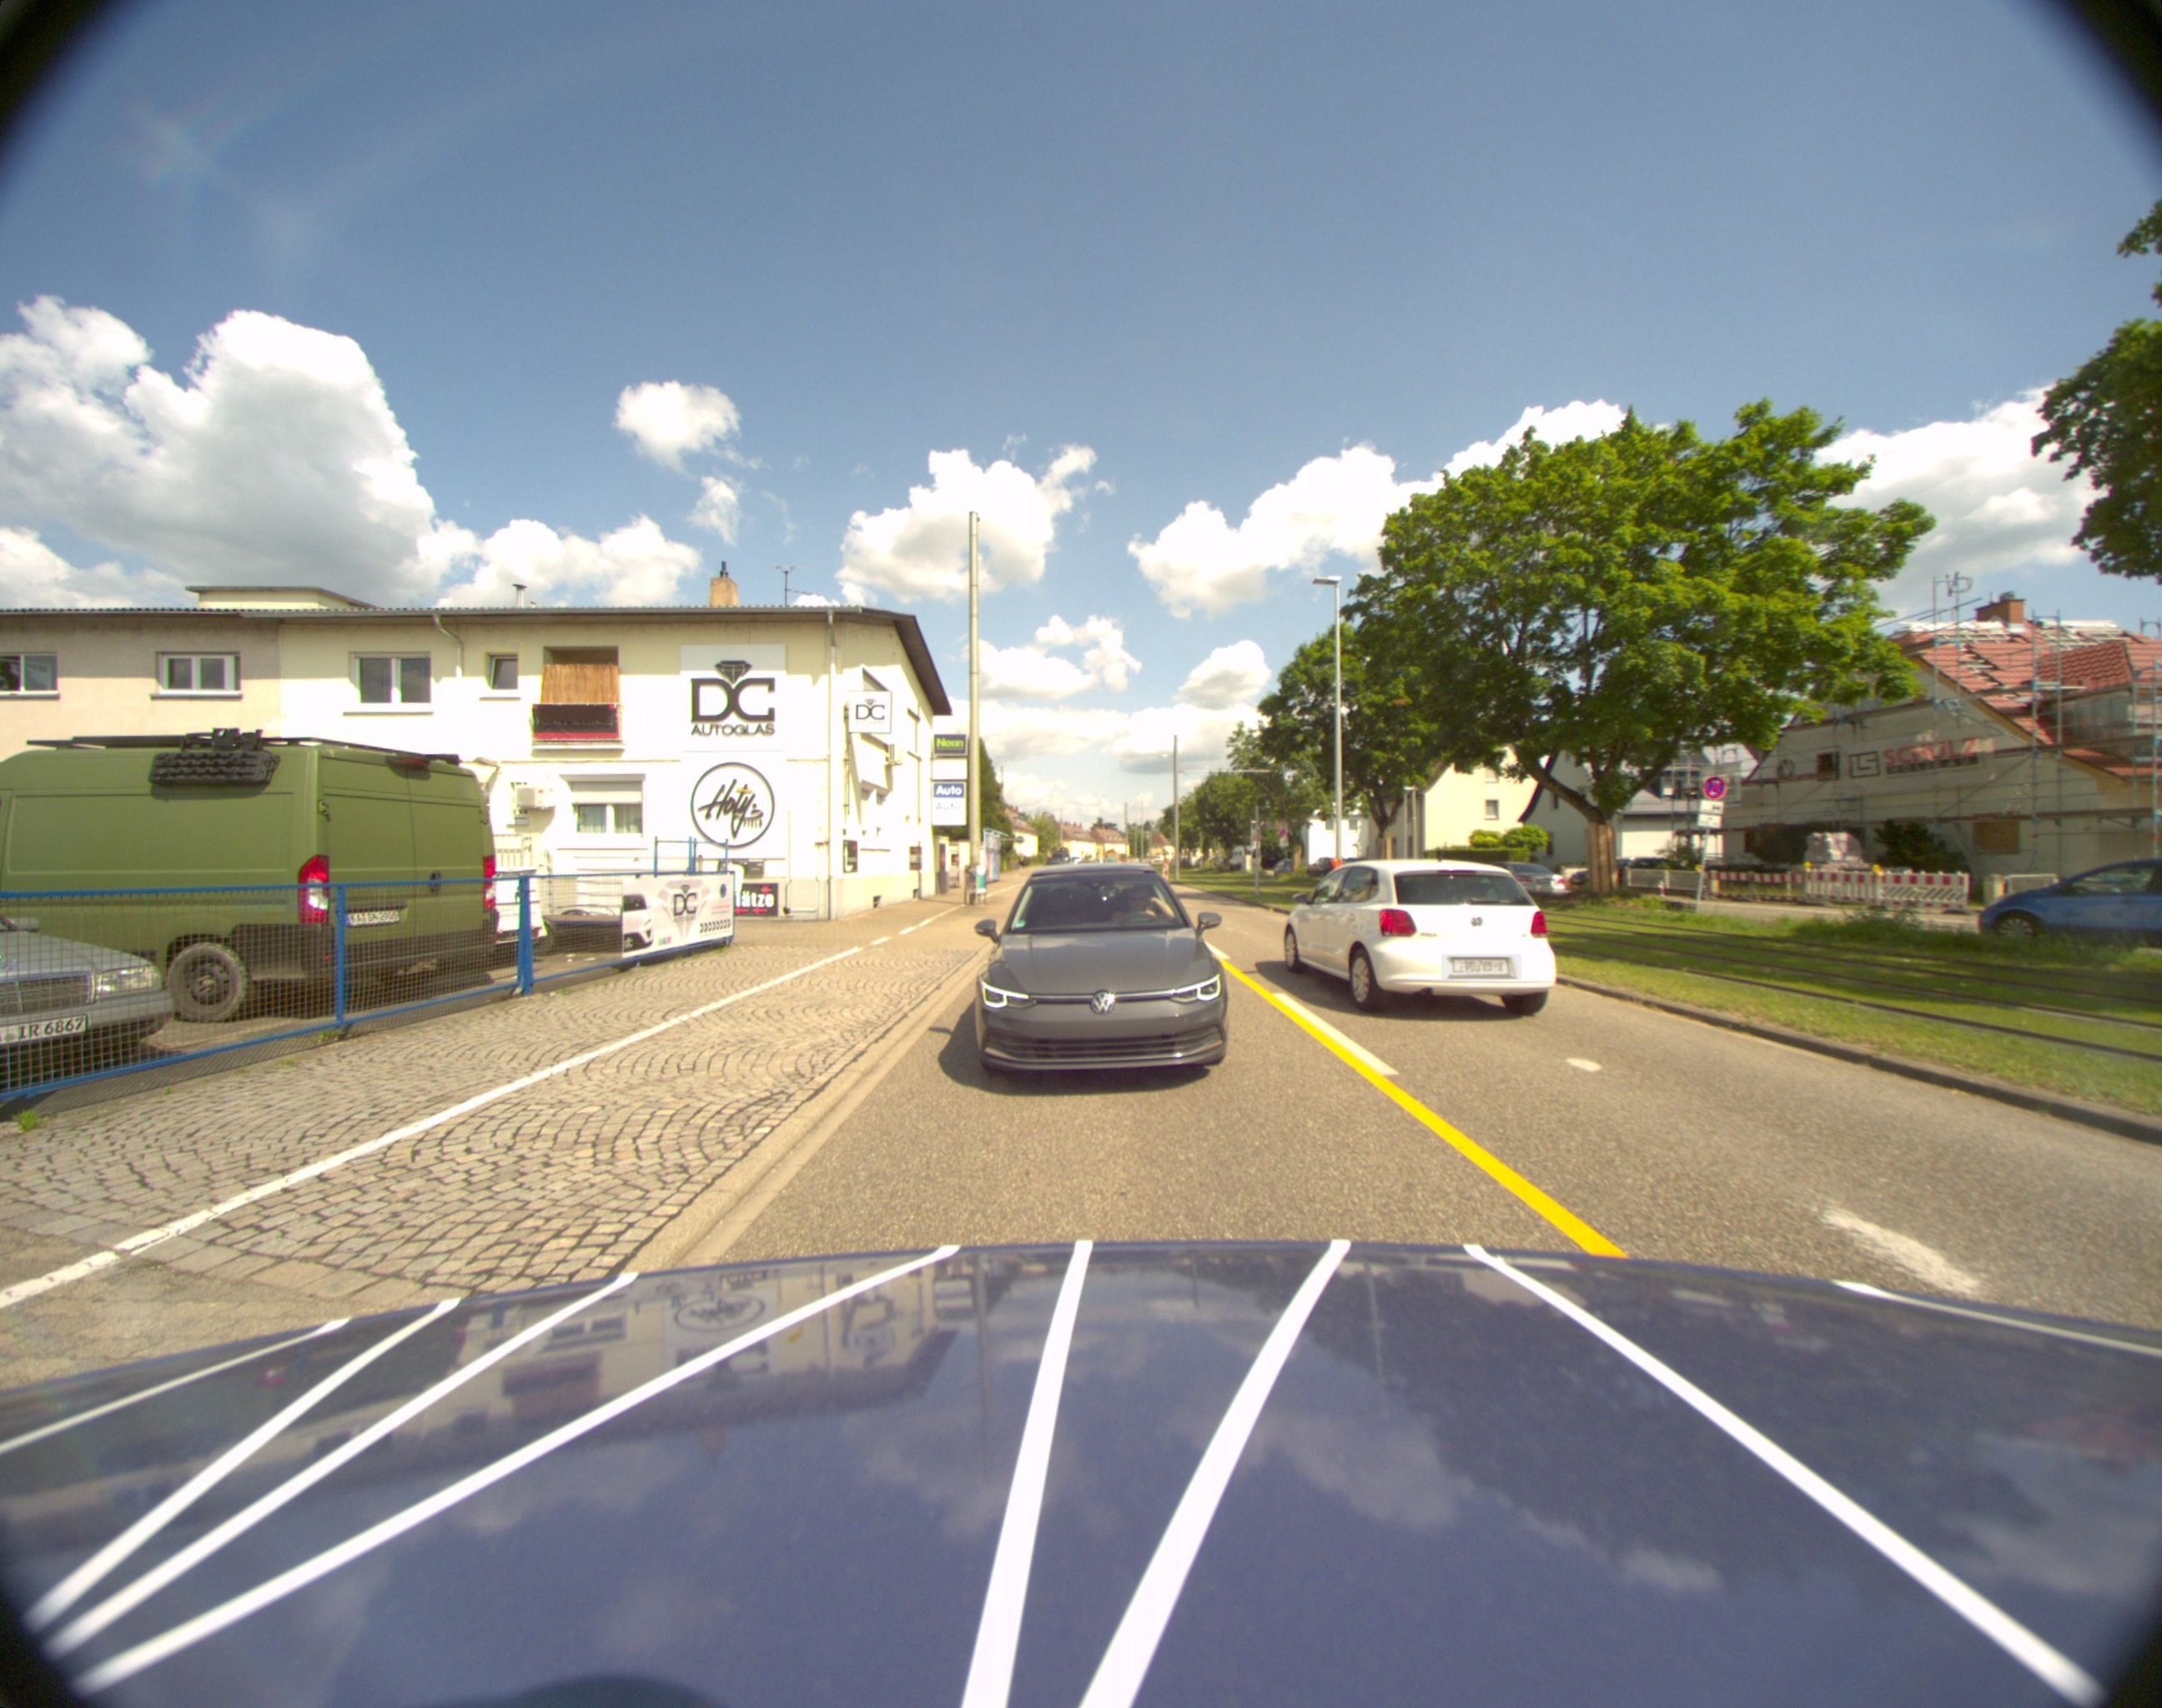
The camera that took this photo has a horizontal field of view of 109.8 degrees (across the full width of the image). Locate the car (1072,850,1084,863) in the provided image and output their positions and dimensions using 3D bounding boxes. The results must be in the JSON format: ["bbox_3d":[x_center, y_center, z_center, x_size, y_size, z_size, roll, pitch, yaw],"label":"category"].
[{"bbox_3d":[-0.440,0.395,136.321,1.719,2.360,5.211,0,0,5],"label":"car"}]

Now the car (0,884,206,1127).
[{"bbox_3d":[-8.441,0.917,4.808,4.206,1.388,1.804,0,0,8],"label":"car"}]

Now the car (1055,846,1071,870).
[{"bbox_3d":[-1.927,0.408,82.847,1.720,2.526,5.794,0,0,0],"label":"car"}]

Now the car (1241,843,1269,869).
[{"bbox_3d":[17.637,0.193,77.082,1.755,2.601,4.606,0,0,0],"label":"car"}]

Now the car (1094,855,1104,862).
[{"bbox_3d":[4.092,0.990,172.734,1.718,1.470,4.011,0,0,8],"label":"car"}]

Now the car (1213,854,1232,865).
[{"bbox_3d":[19.949,0.782,107.172,1.755,1.602,4.606,0,0,0],"label":"car"}]

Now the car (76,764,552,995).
[{"bbox_3d":[-9.459,0.300,9.649,4.209,2.653,1.803,0,0,0],"label":"car"}]

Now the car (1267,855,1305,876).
[{"bbox_3d":[16.487,0.914,61.356,1.755,1.602,4.606,0,0,0],"label":"car"}]

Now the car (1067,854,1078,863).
[{"bbox_3d":[-1.376,0.734,122.957,1.720,1.470,4.009,0,0,0],"label":"car"}]

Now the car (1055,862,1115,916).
[{"bbox_3d":[0.138,1.010,23.540,1.719,1.470,4.009,0,0,1],"label":"car"}]

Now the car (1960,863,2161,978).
[{"bbox_3d":[16.218,0.956,11.231,1.755,1.602,4.050,0,0,0],"label":"car"}]

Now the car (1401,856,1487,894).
[{"bbox_3d":[16.584,0.914,35.029,1.755,1.602,4.606,0,0,0],"label":"car"}]

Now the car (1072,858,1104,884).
[{"bbox_3d":[0.408,0.966,44.907,1.787,1.470,4.009,0,0,1],"label":"car"}]

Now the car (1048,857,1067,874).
[{"bbox_3d":[-2.168,1.063,70.985,1.720,1.470,4.009,0,0,0],"label":"car"}]

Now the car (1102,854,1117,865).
[{"bbox_3d":[3.772,0.740,99.898,1.755,1.405,4.261,0,0,0],"label":"car"}]

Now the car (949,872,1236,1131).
[{"bbox_3d":[0.095,0.936,6.577,1.719,1.470,4.009,0,0,1],"label":"car"}]

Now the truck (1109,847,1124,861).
[{"bbox_3d":[9.391,0.016,201.134,2.590,3.431,8.585,0,0,11],"label":"truck"}]

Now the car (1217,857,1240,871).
[{"bbox_3d":[16.923,1.149,87.269,1.755,1.602,4.606,0,0,0],"label":"car"}]

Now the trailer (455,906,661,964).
[{"bbox_3d":[-8.067,1.236,11.834,2.329,0.762,1.269,0,0,2],"label":"trailer"}]

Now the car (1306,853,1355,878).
[{"bbox_3d":[16.672,0.761,50.906,1.755,1.602,4.606,0,0,0],"label":"car"}]

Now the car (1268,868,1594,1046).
[{"bbox_3d":[3.437,0.903,8.467,1.719,1.405,4.262,0,0,1],"label":"car"}]

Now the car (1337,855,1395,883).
[{"bbox_3d":[16.894,0.848,45.267,1.755,1.602,4.606,0,0,0],"label":"car"}]

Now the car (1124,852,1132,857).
[{"bbox_3d":[13.516,0.229,218.476,1.718,1.470,4.013,0,0,13],"label":"car"}]

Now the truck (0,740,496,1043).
[{"bbox_3d":[-8.628,0.327,7.564,3.997,2.592,2.069,0,0,1],"label":"truck"}]

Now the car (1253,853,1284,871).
[{"bbox_3d":[17.576,0.752,71.495,1.755,1.602,4.606,0,0,0],"label":"car"}]

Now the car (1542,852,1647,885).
[{"bbox_3d":[25.505,0.718,37.832,4.047,1.602,1.757,0,0,1],"label":"car"}]

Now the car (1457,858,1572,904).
[{"bbox_3d":[16.383,0.963,29.006,1.755,1.602,4.606,0,0,0],"label":"car"}]

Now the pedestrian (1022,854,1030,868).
[{"bbox_3d":[-6.306,0.754,86.773,0.816,1.577,0.918,0,0,1],"label":"pedestrian"}]
